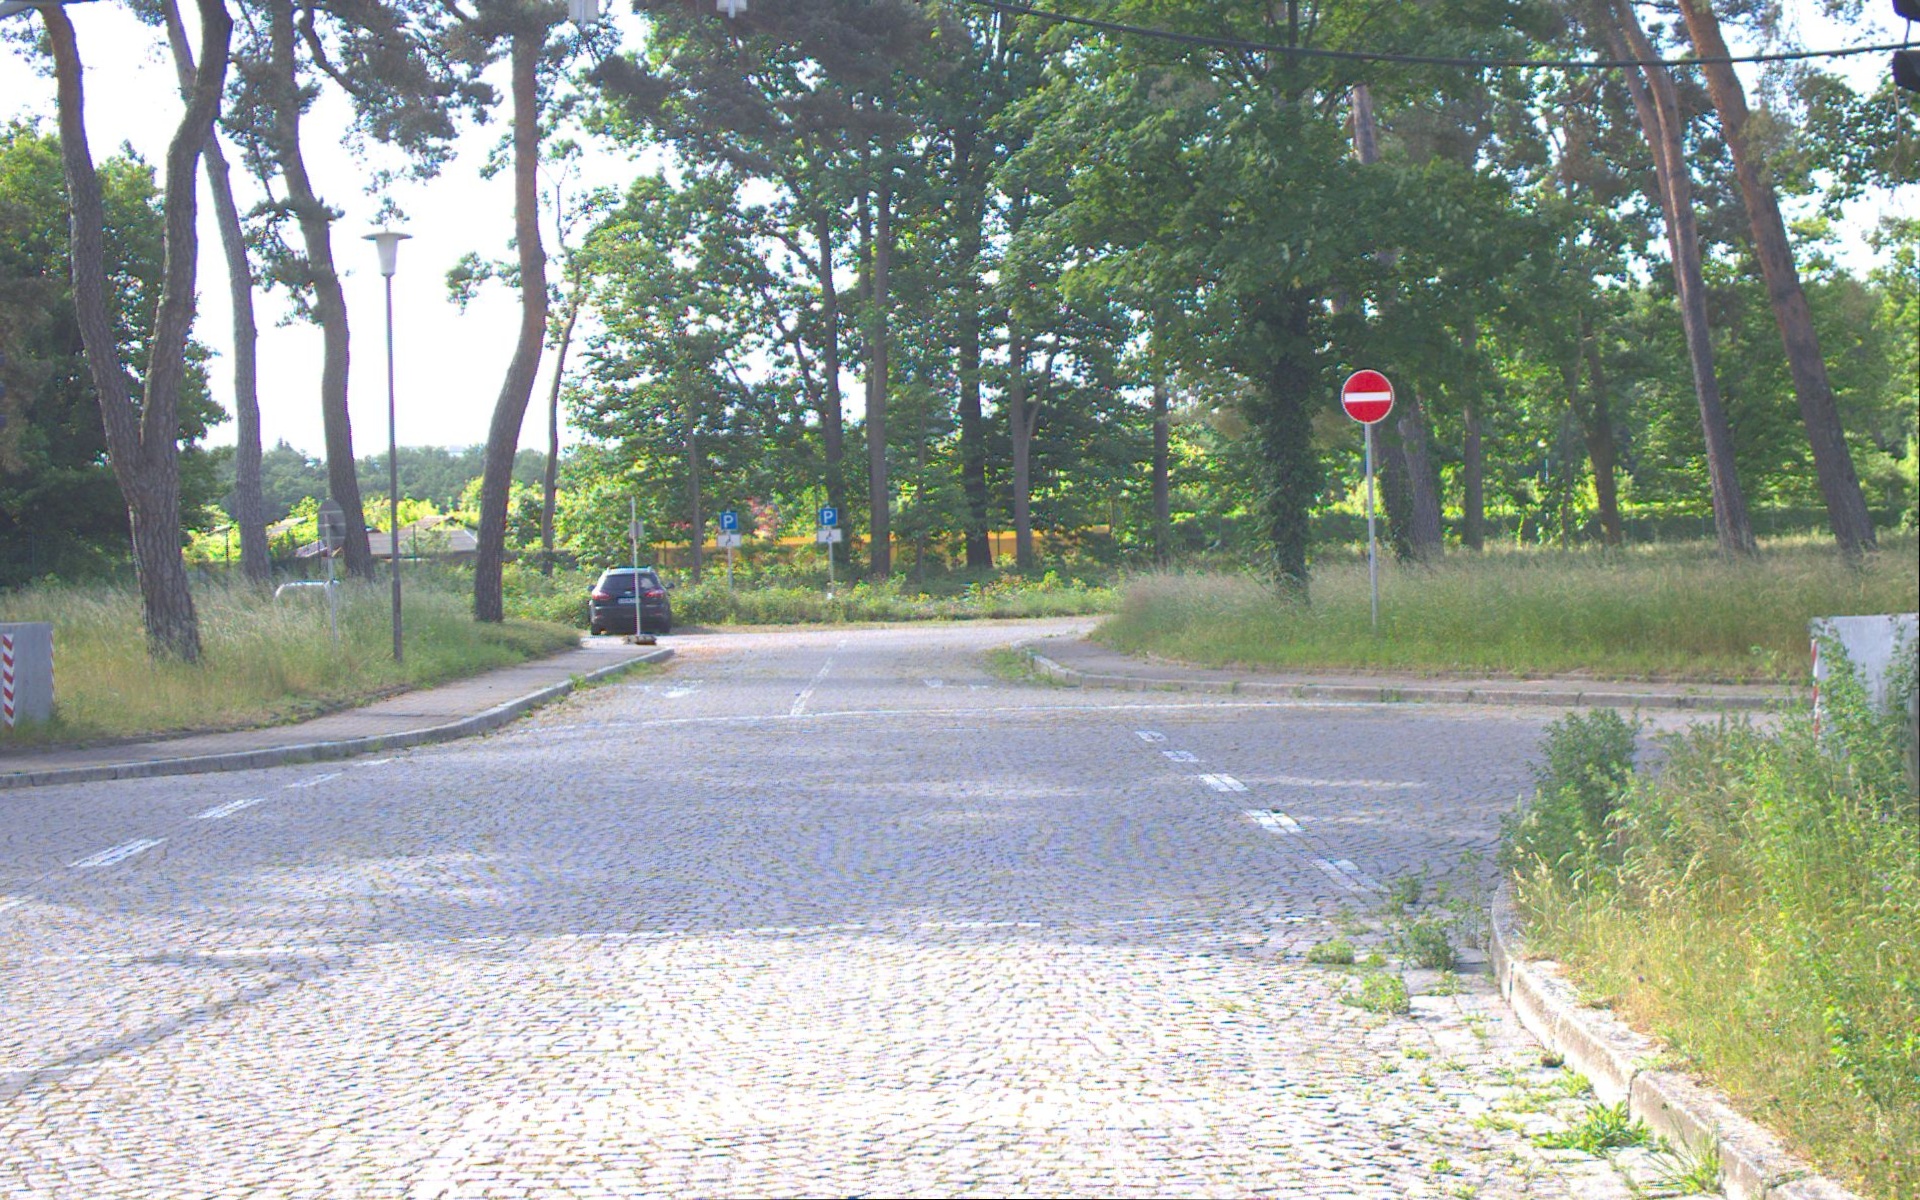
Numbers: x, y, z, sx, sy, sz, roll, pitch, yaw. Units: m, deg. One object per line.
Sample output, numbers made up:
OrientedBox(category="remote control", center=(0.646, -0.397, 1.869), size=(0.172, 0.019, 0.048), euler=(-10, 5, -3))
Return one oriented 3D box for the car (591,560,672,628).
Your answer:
OrientedBox(category="car", center=(-7.657, -0.162, 80.407), size=(1.709, 1.491, 3.919), euler=(-2, 1, -3))
